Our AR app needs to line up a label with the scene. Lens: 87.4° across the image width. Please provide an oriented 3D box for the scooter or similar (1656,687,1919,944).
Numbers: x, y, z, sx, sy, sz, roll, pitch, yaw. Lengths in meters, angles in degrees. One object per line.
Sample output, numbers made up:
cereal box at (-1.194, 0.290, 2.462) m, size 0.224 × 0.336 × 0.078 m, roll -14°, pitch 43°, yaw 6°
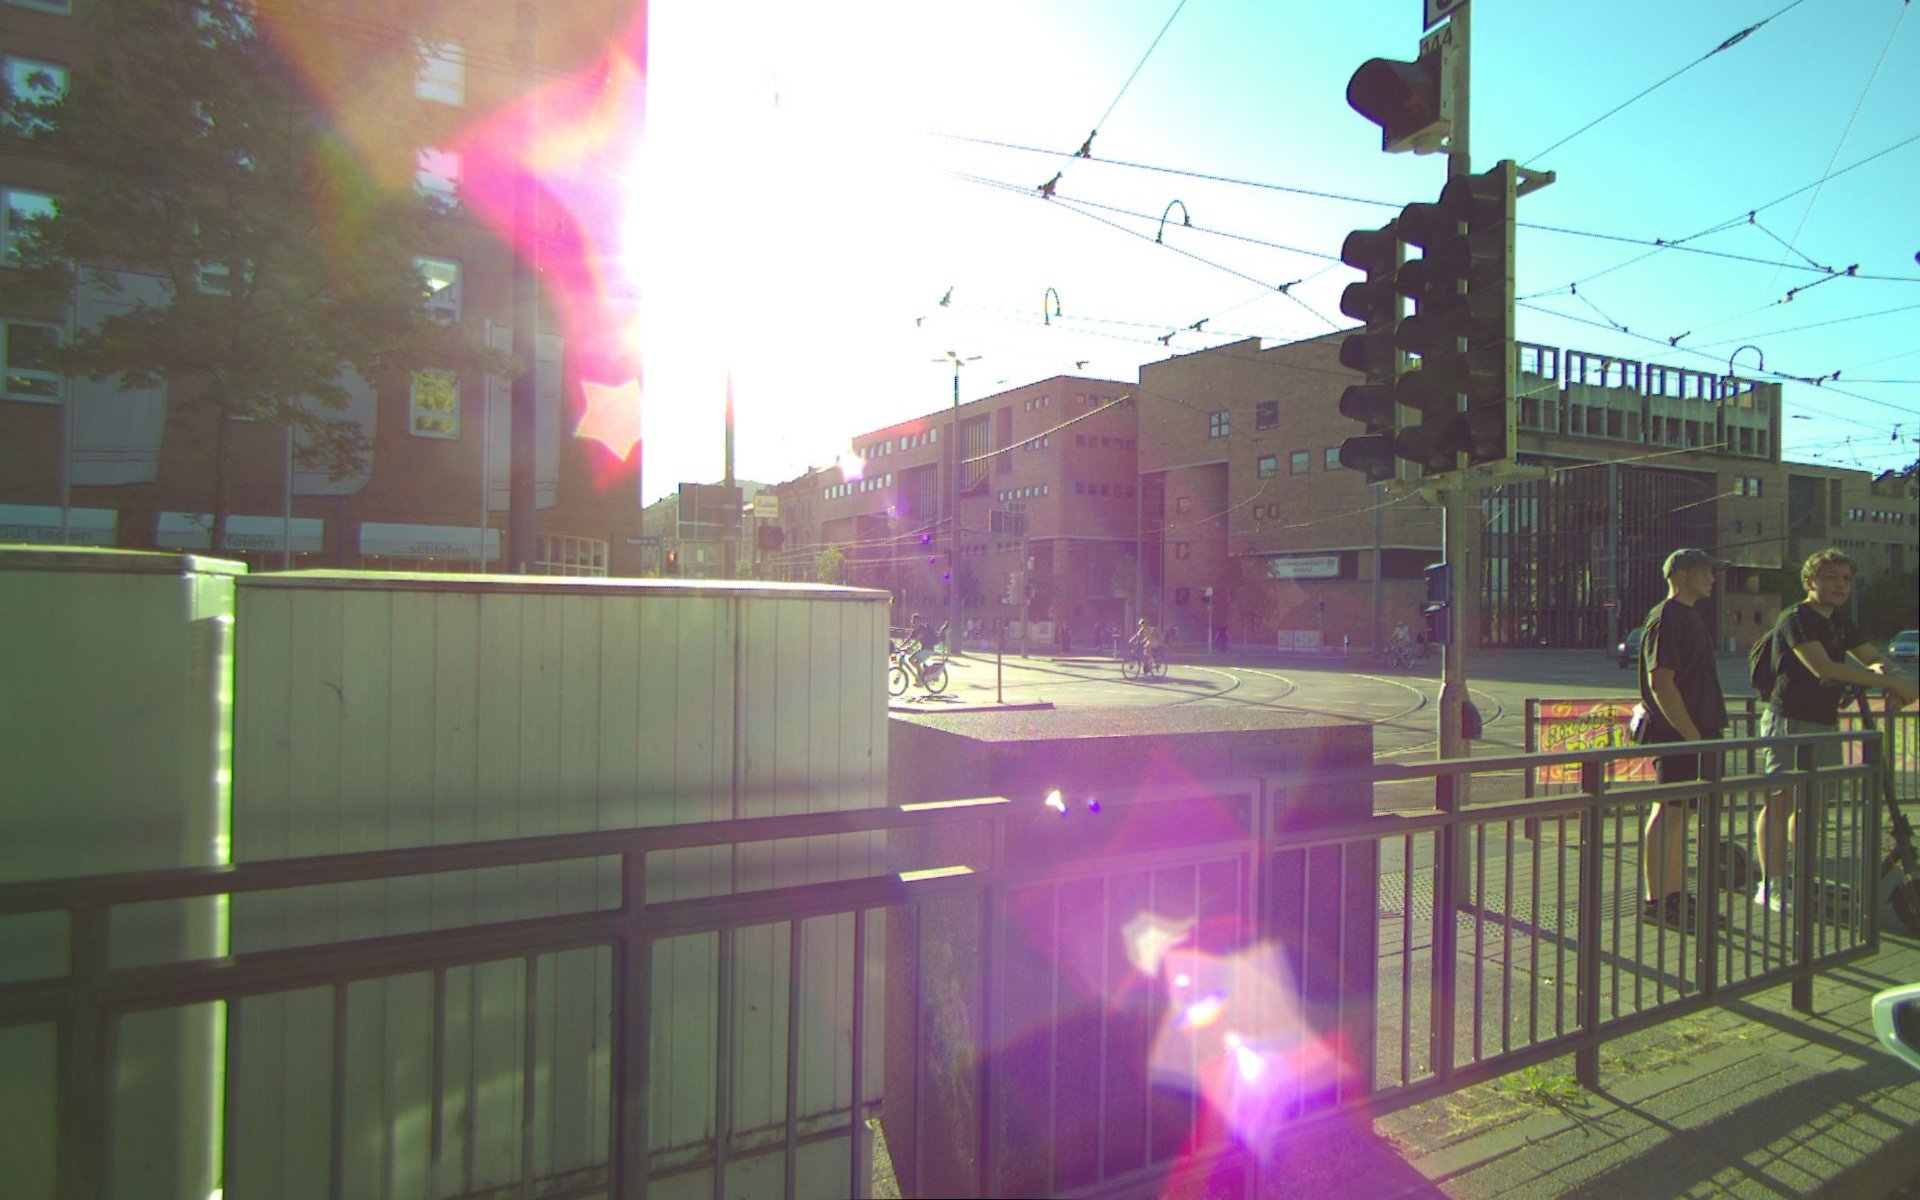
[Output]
scooter or similar at (4.447, 1.041, 5.229) m, size 0.639 × 1.095 × 1.199 m, roll 1°, pitch -1°, yaw -25°

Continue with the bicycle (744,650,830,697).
bicycle at (-3.992, 1.687, 23.230) m, size 1.884 × 1.011 × 0.648 m, roll 1°, pitch -2°, yaw -37°

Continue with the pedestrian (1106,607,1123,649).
pedestrian at (7.684, 1.389, 50.054) m, size 0.603 × 2.040 × 0.731 m, roll 0°, pitch -1°, yaw 30°

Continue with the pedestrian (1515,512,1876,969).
pedestrian at (3.538, 0.605, 4.921) m, size 0.843 × 1.908 × 1.164 m, roll 1°, pitch -1°, yaw -25°

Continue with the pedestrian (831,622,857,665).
pedestrian at (-4.779, 1.784, 41.458) m, size 0.857 × 1.775 × 0.672 m, roll 1°, pitch -1°, yaw -30°

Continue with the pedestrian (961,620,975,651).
pedestrian at (0.550, 2.345, 66.985) m, size 0.607 × 2.040 × 0.727 m, roll 1°, pitch -1°, yaw -32°

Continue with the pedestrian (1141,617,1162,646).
pedestrian at (13.575, 2.207, 71.181) m, size 0.902 × 2.040 × 1.151 m, roll 1°, pitch -1°, yaw -34°

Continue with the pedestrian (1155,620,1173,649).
pedestrian at (14.726, 2.479, 72.462) m, size 0.841 × 2.079 × 1.001 m, roll 1°, pitch -1°, yaw -32°

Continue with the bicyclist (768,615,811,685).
bicyclist at (-3.954, 1.141, 23.252) m, size 0.752 × 1.595 × 0.656 m, roll 1°, pitch -2°, yaw -37°

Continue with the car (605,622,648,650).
car at (-21.602, 2.308, 64.949) m, size 1.738 × 1.750 × 3.965 m, roll 1°, pitch -2°, yaw -32°

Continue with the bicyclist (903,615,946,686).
bicyclist at (-0.809, 1.156, 23.047) m, size 0.752 × 1.590 × 0.656 m, roll 1°, pitch -2°, yaw -37°

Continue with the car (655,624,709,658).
car at (-15.227, 2.208, 54.910) m, size 1.739 × 1.750 × 3.963 m, roll 1°, pitch -2°, yaw -33°

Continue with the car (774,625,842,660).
car at (-7.795, 2.142, 51.182) m, size 1.978 × 1.709 × 3.965 m, roll 1°, pitch -2°, yaw -33°

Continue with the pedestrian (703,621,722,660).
pedestrian at (-11.747, 1.930, 47.658) m, size 0.597 × 1.843 × 0.848 m, roll 1°, pitch -1°, yaw -38°

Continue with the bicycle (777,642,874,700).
bicycle at (-3.025, 1.585, 22.741) m, size 2.089 × 1.157 × 0.681 m, roll -1°, pitch 0°, yaw -34°

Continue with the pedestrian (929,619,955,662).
pedestrian at (-0.760, 1.714, 42.673) m, size 0.860 × 1.775 × 0.670 m, roll 1°, pitch -2°, yaw -39°

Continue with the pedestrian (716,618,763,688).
pedestrian at (-5.950, 1.405, 27.187) m, size 0.938 × 1.822 × 0.993 m, roll 2°, pitch 0°, yaw 5°

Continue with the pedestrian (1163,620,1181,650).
pedestrian at (15.036, 2.462, 71.295) m, size 0.841 × 2.079 × 1.001 m, roll 1°, pitch -1°, yaw -32°

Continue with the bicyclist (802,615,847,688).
bicyclist at (-3.069, 1.148, 22.718) m, size 0.751 × 1.581 × 0.677 m, roll -1°, pitch 0°, yaw -34°

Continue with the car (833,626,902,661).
car at (-4.805, 2.235, 51.807) m, size 1.978 × 1.709 × 3.965 m, roll 1°, pitch -2°, yaw -33°

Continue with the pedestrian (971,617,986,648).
pedestrian at (1.239, 2.168, 66.831) m, size 0.644 × 2.040 × 0.780 m, roll 1°, pitch -1°, yaw -32°

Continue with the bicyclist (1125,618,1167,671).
bicyclist at (5.357, 1.267, 28.920) m, size 1.022 × 1.494 × 0.649 m, roll 2°, pitch -1°, yaw -35°

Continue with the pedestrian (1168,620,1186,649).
pedestrian at (15.787, 2.507, 73.212) m, size 0.841 × 2.079 × 1.001 m, roll 1°, pitch -1°, yaw -32°

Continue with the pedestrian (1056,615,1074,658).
pedestrian at (5.025, 1.752, 48.072) m, size 0.604 × 2.040 × 0.730 m, roll 0°, pitch -1°, yaw 36°

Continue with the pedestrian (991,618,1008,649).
pedestrian at (2.577, 2.157, 65.416) m, size 0.742 × 2.010 × 0.780 m, roll 1°, pitch -1°, yaw -32°

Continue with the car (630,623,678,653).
car at (-18.253, 2.242, 59.890) m, size 1.738 × 1.750 × 3.965 m, roll 1°, pitch -2°, yaw -32°

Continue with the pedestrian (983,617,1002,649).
pedestrian at (2.087, 2.139, 64.833) m, size 0.917 × 2.010 × 0.780 m, roll 1°, pitch -1°, yaw -32°

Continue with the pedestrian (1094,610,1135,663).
pedestrian at (6.155, 1.449, 40.077) m, size 1.193 × 2.040 × 1.028 m, roll 2°, pitch 0°, yaw -30°

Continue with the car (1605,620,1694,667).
car at (28.432, 1.768, 41.387) m, size 3.964 × 1.786 × 1.854 m, roll 1°, pitch 0°, yaw -37°

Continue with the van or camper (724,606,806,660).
van or camper at (-9.379, 1.567, 48.023) m, size 1.981 × 2.451 × 4.980 m, roll 1°, pitch -2°, yaw -36°

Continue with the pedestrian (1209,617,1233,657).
pedestrian at (12.842, 1.815, 49.453) m, size 0.866 × 1.927 × 0.718 m, roll 2°, pitch 0°, yaw -33°

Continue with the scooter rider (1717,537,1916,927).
scooter rider at (4.468, 0.654, 5.248) m, size 0.670 × 1.877 × 0.564 m, roll 3°, pitch -2°, yaw -25°

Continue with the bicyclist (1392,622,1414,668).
bicyclist at (16.143, 1.625, 36.599) m, size 0.509 × 1.647 × 0.583 m, roll 1°, pitch -1°, yaw -34°

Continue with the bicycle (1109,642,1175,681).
bicycle at (5.242, 1.745, 28.825) m, size 1.993 × 1.064 × 0.647 m, roll 2°, pitch -1°, yaw -35°

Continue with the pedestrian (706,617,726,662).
pedestrian at (-11.124, 1.782, 45.763) m, size 0.597 × 2.040 × 0.848 m, roll 1°, pitch -1°, yaw -38°

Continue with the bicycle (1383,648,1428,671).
bicycle at (16.266, 2.157, 36.670) m, size 1.948 × 0.781 × 0.586 m, roll 1°, pitch -2°, yaw -35°

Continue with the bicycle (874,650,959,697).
bicycle at (-0.977, 1.654, 22.915) m, size 1.884 × 1.011 × 0.688 m, roll 1°, pitch -2°, yaw -37°

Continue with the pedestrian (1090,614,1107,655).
pedestrian at (6.953, 1.721, 50.404) m, size 0.603 × 2.040 × 0.731 m, roll 0°, pitch -1°, yaw 30°

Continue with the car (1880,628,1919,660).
car at (48.962, 2.251, 51.703) m, size 3.962 × 1.598 × 1.610 m, roll 1°, pitch -2°, yaw -36°
